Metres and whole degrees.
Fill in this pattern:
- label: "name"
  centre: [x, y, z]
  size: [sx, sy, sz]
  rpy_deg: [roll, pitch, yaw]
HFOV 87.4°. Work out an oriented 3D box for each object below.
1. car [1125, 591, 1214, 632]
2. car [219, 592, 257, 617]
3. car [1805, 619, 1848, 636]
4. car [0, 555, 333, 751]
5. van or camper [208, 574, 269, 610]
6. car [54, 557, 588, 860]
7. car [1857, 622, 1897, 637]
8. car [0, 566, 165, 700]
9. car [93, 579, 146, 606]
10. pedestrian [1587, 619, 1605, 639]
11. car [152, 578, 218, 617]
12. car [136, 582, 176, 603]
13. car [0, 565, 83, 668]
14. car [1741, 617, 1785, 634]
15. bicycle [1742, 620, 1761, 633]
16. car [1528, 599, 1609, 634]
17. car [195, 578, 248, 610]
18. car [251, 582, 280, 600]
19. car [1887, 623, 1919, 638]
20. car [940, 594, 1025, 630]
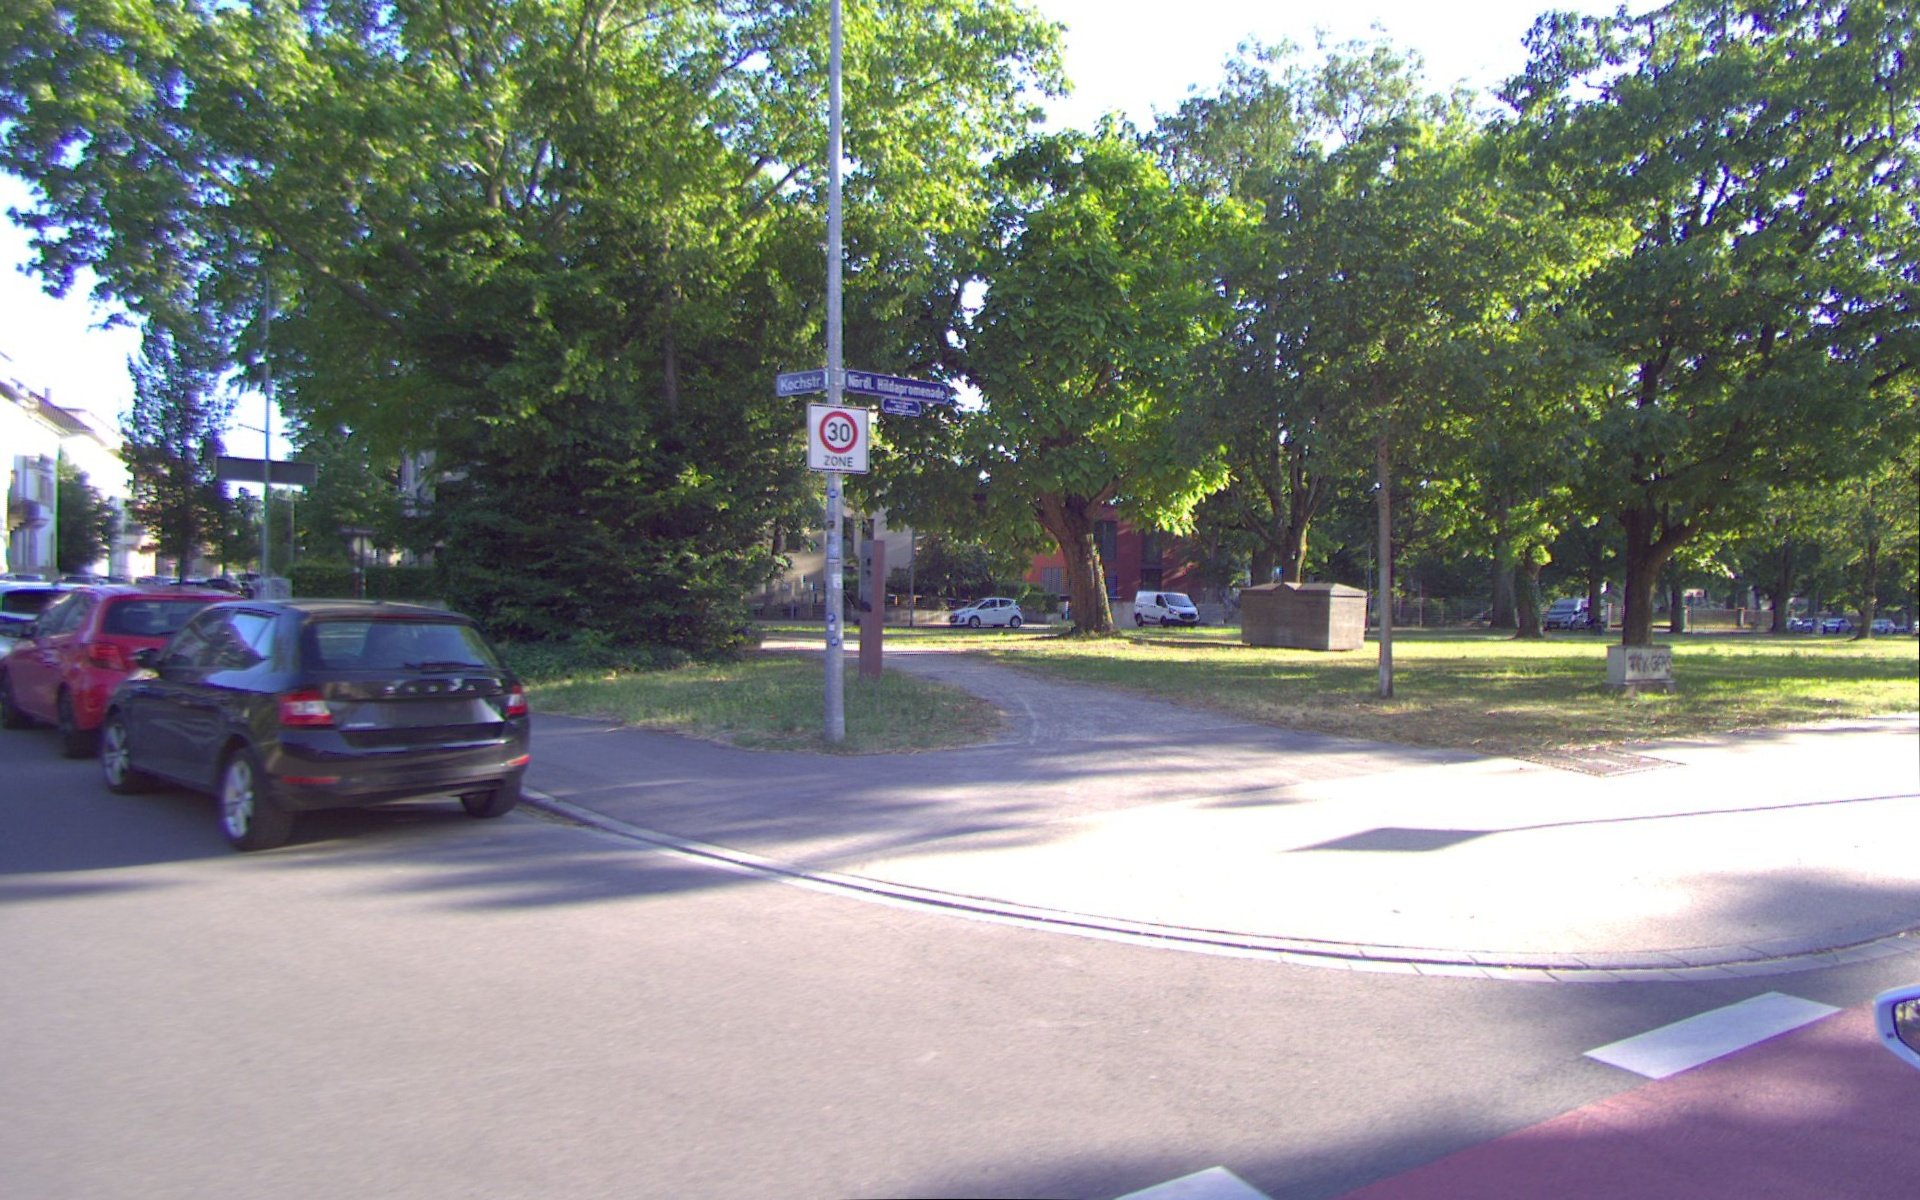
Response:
- label: "car"
  centre: [11.718, 0.612, 56.502]
  size: [2.638, 2.142, 4.945]
  rpy_deg: [1, 1, -20]
- label: "car"
  centre: [-50.072, 0.276, 69.738]
  size: [1.871, 1.595, 3.963]
  rpy_deg: [3, -1, -33]
- label: "car"
  centre: [86.189, 2.715, 99.927]
  size: [4.066, 1.528, 1.984]
  rpy_deg: [2, -1, -30]
- label: "car"
  centre: [-8.269, 0.422, 10.143]
  size: [3.934, 1.595, 1.885]
  rpy_deg: [2, -1, 36]
- label: "van or camper"
  centre: [-56.521, -0.630, 78.688]
  size: [5.978, 2.584, 2.072]
  rpy_deg: [2, -1, 37]
- label: "car"
  centre: [-4.723, 0.566, 7.268]
  size: [3.934, 1.595, 1.885]
  rpy_deg: [2, -1, 36]
- label: "car"
  centre: [96.368, 3.101, 105.563]
  size: [4.066, 1.528, 1.984]
  rpy_deg: [2, -1, -30]
- label: "car"
  centre: [-12.538, 0.368, 13.676]
  size: [3.939, 1.595, 1.882]
  rpy_deg: [2, -1, 40]
- label: "car"
  centre: [-54.067, -0.457, 64.682]
  size: [1.869, 1.595, 3.968]
  rpy_deg: [3, -1, -30]
- label: "pedestrian"
  centre: [32.574, 1.483, 51.455]
  size: [0.603, 1.000, 0.546]
  rpy_deg: [2, 0, -29]
- label: "car"
  centre: [-35.090, -0.135, 45.578]
  size: [1.870, 1.595, 3.965]
  rpy_deg: [3, -1, -32]
- label: "car"
  centre: [-64.876, -0.590, 81.122]
  size: [1.869, 1.595, 3.968]
  rpy_deg: [3, -1, -30]
- label: "car"
  centre: [-16.323, 0.200, 16.814]
  size: [3.940, 1.595, 1.882]
  rpy_deg: [2, -1, 40]
- label: "car"
  centre: [76.097, 2.424, 95.166]
  size: [3.952, 1.528, 1.984]
  rpy_deg: [2, -1, -30]
- label: "bicycle"
  centre: [75.217, 2.566, 95.438]
  size: [2.309, 1.191, 0.653]
  rpy_deg: [2, 0, -33]
- label: "car"
  centre: [46.152, 1.246, 76.142]
  size: [6.248, 2.496, 2.706]
  rpy_deg: [2, -1, -32]
- label: "car"
  centre: [-39.774, -0.316, 54.151]
  size: [1.870, 1.595, 3.966]
  rpy_deg: [3, -1, -31]
- label: "car"
  centre: [-67.067, -0.885, 96.990]
  size: [1.869, 1.595, 3.968]
  rpy_deg: [3, -1, -30]
- label: "car"
  centre: [103.846, 3.344, 110.259]
  size: [4.066, 1.528, 1.984]
  rpy_deg: [2, -1, -30]
- label: "car"
  centre: [1.098, 0.608, 49.120]
  size: [3.694, 1.639, 1.984]
  rpy_deg: [1, 1, -30]
